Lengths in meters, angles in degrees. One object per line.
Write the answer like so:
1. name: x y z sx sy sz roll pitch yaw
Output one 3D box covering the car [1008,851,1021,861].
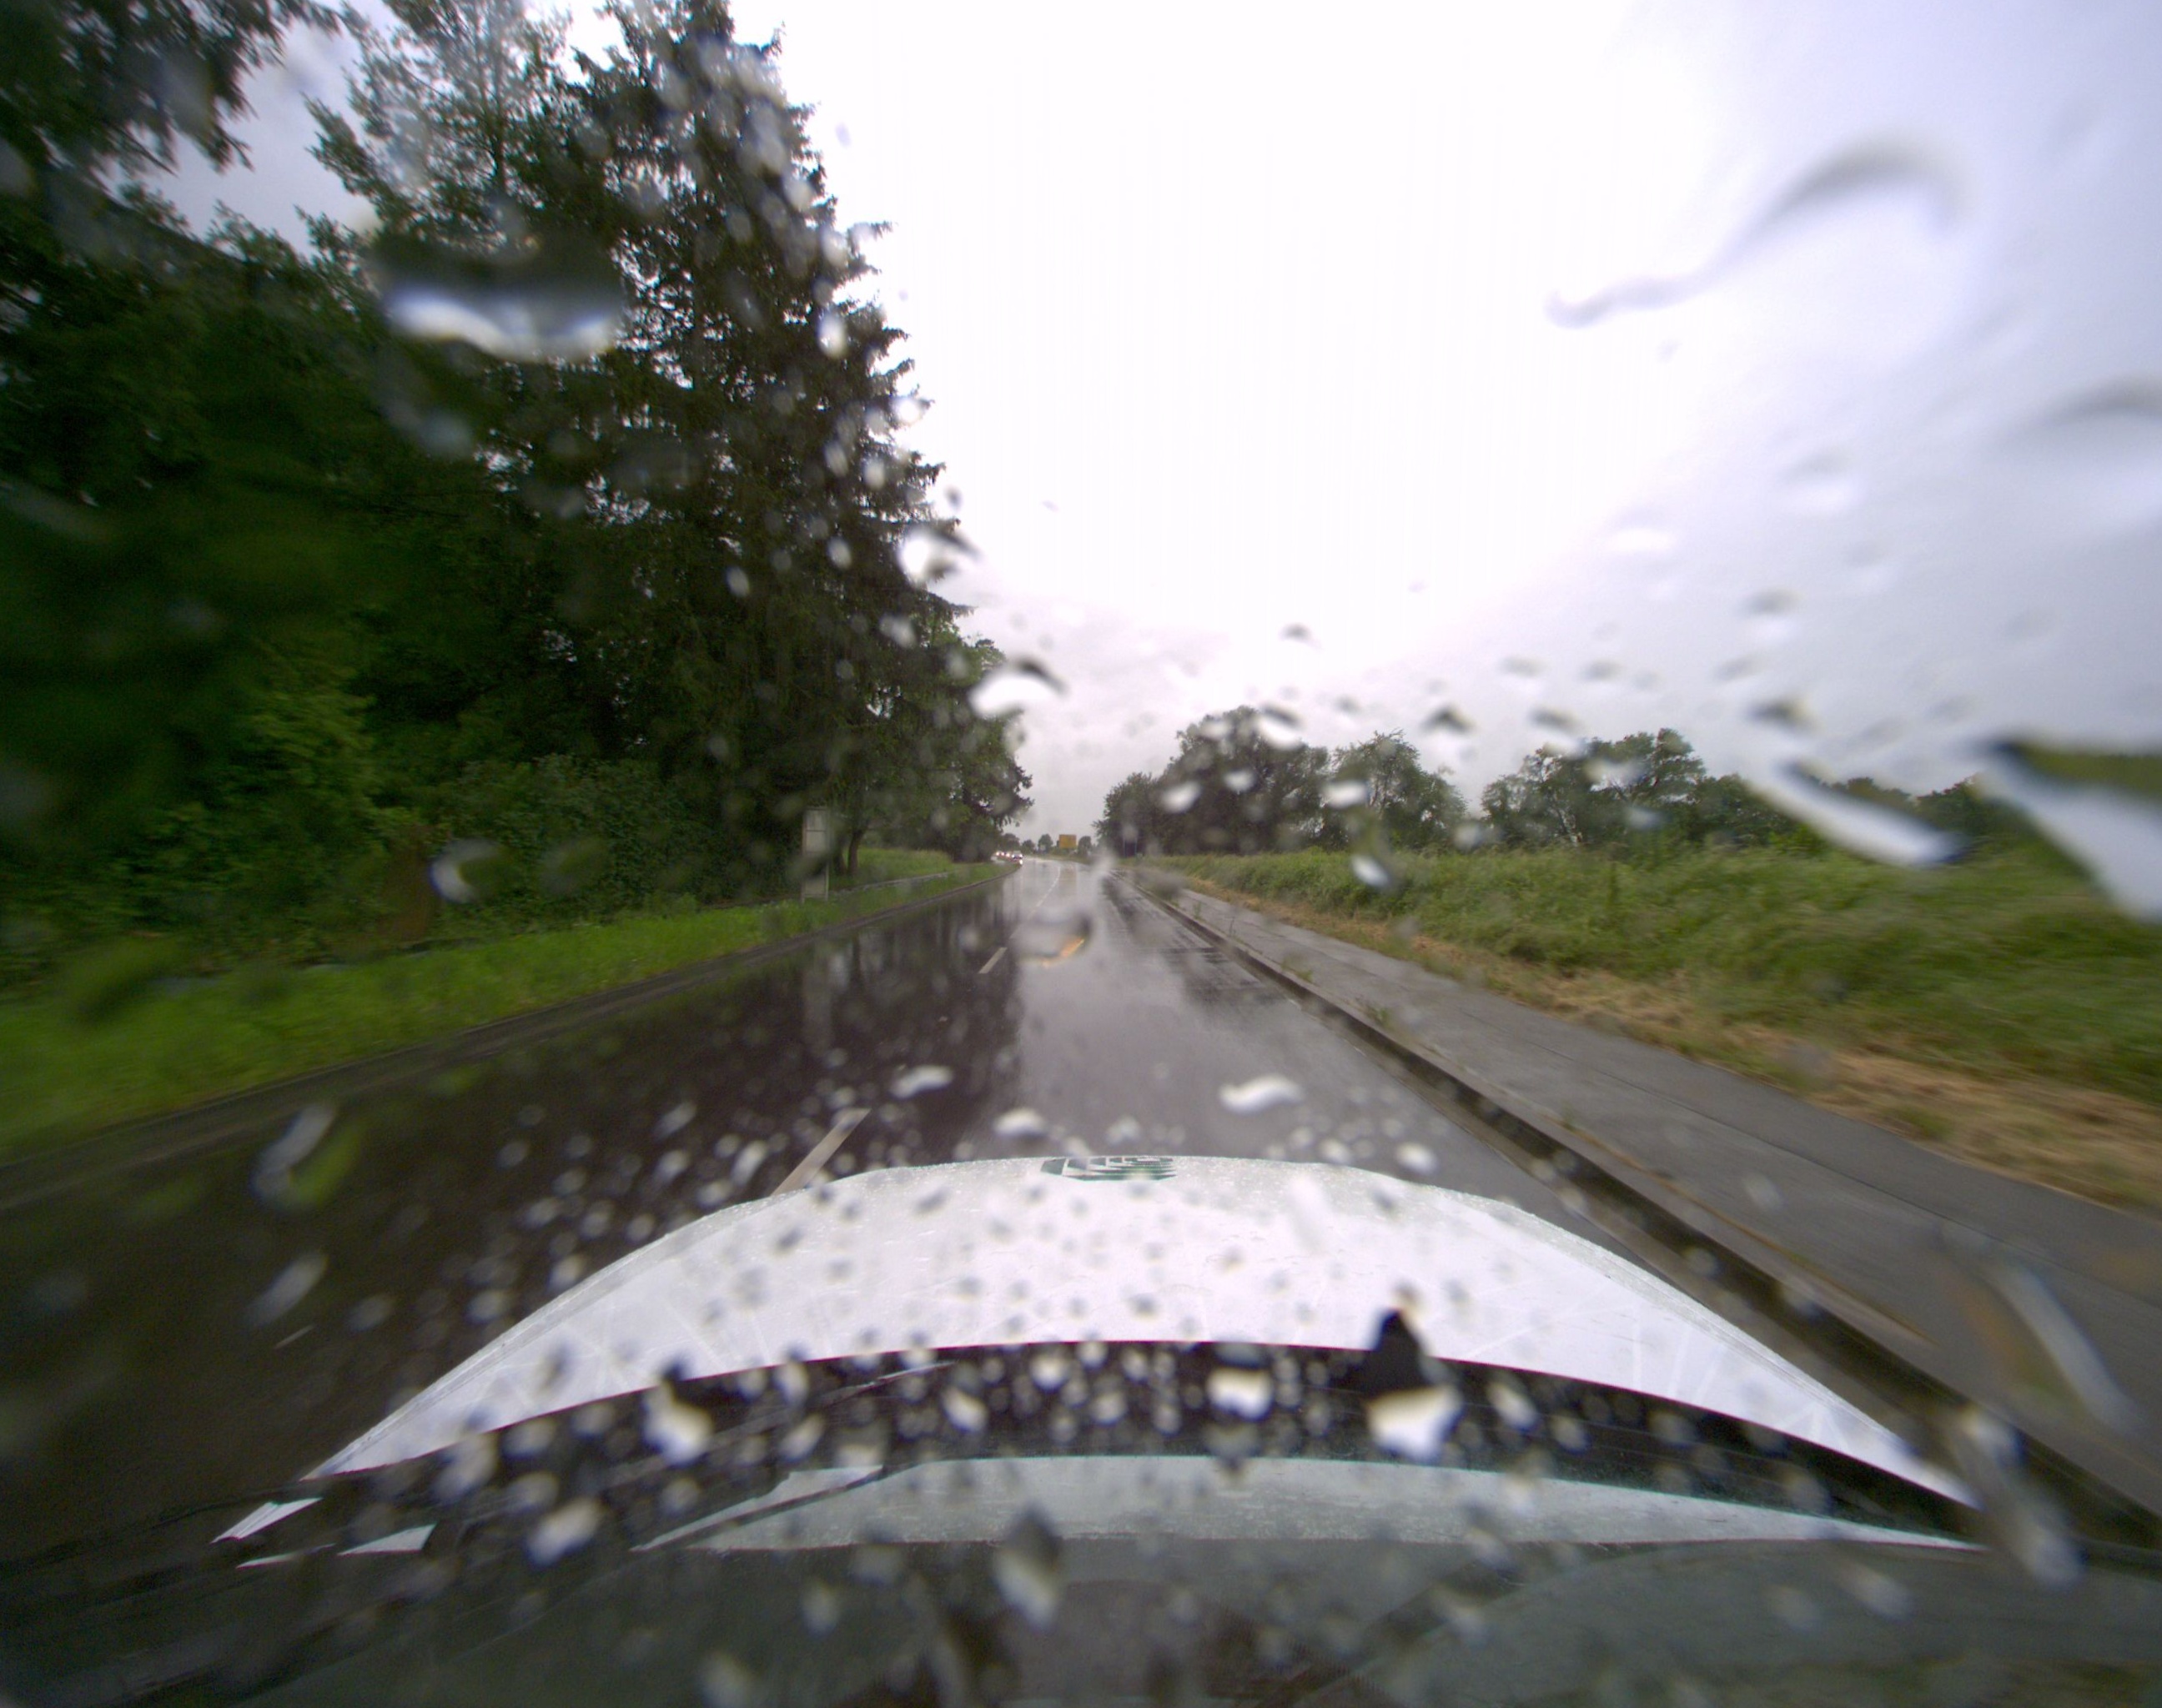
1. car: -11.618 0.266 143.113 1.762 1.552 3.984 0 3 -13
